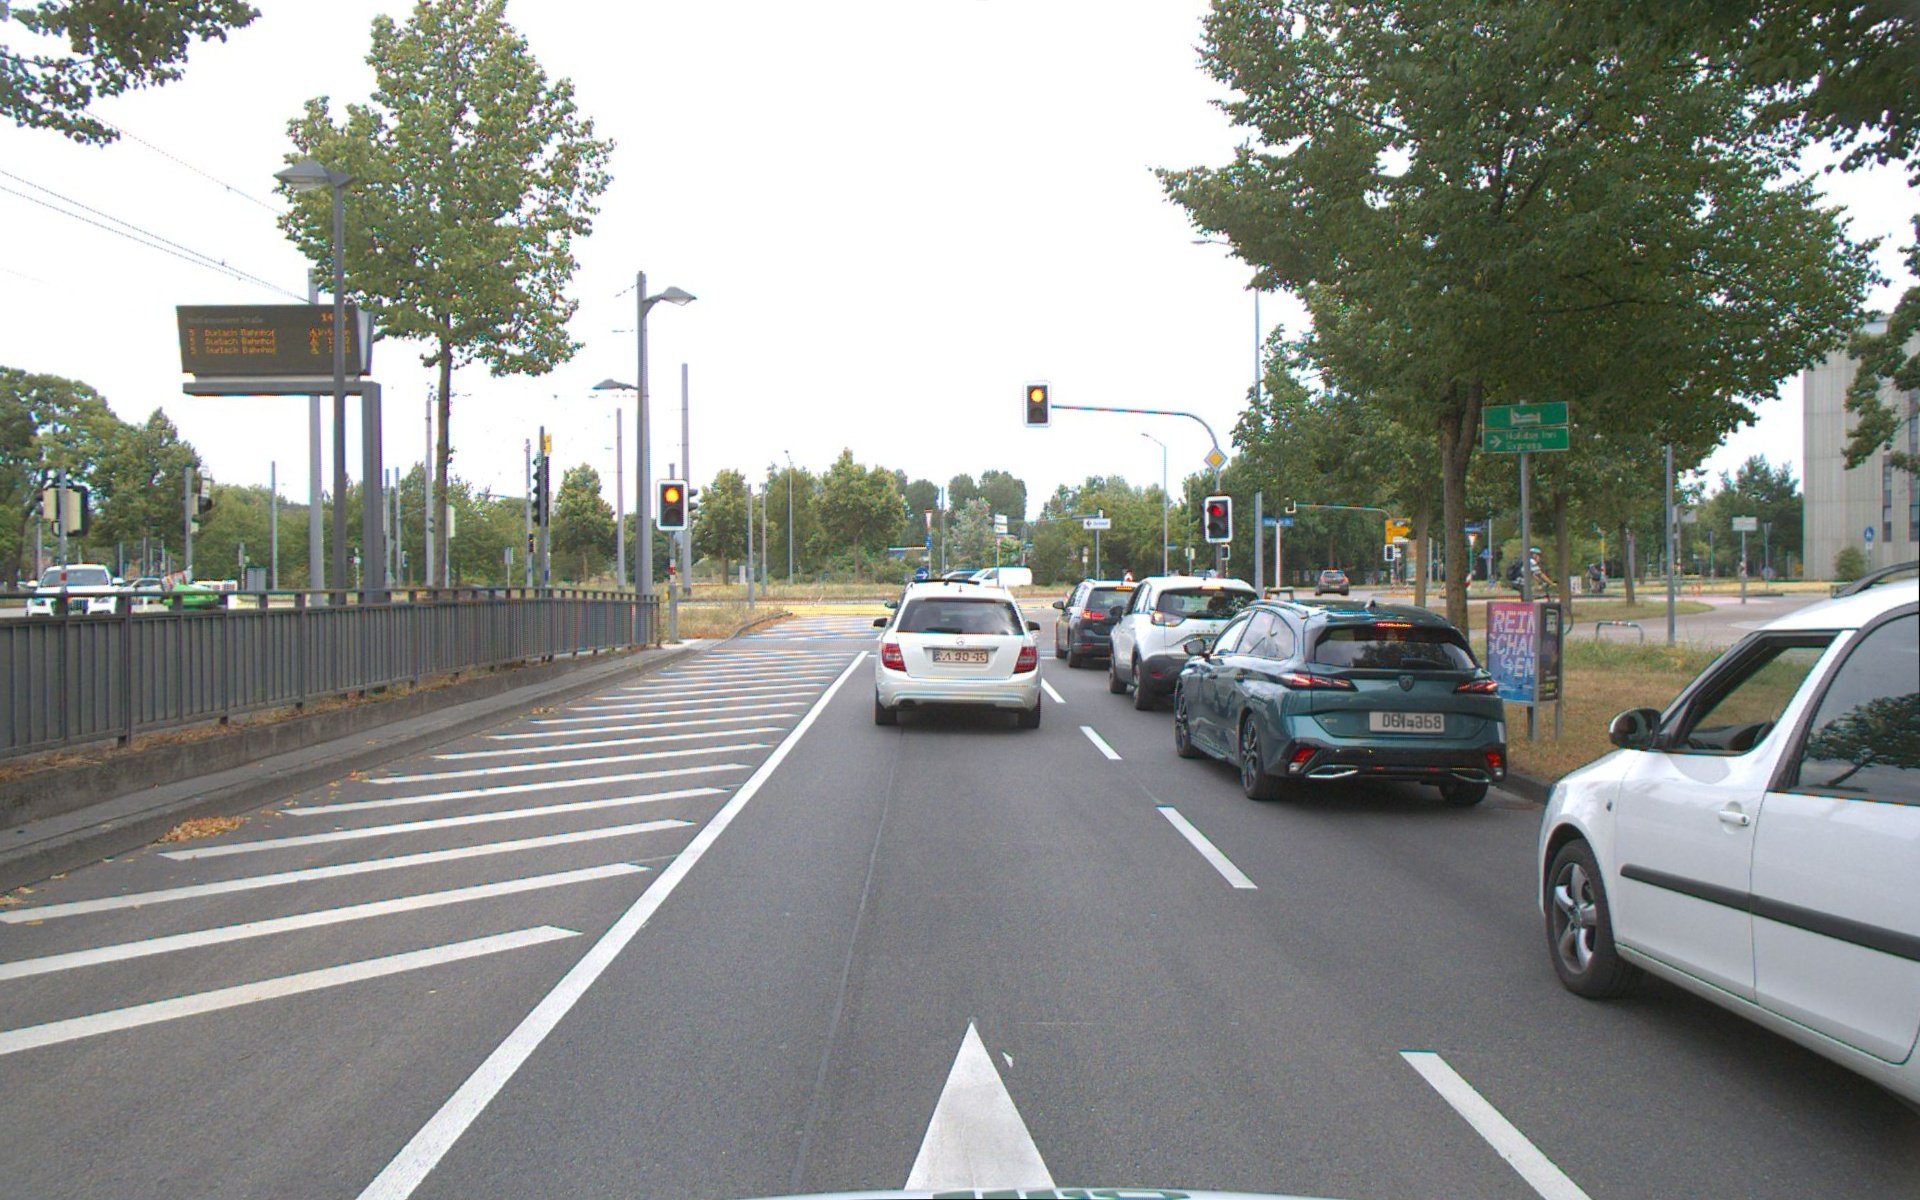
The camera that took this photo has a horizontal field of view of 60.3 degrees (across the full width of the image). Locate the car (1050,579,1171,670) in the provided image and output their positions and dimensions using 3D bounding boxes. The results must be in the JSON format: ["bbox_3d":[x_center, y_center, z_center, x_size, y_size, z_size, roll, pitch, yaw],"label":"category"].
[{"bbox_3d":[2.589,0.376,29.221,1.592,1.473,3.909,1,1,-2],"label":"car"}]

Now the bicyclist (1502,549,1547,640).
[{"bbox_3d":[12.164,-0.125,35.646,0.714,1.918,0.734,0,1,-2],"label":"bicyclist"}]

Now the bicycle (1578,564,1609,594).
[{"bbox_3d":[32.313,-1.069,84.361,0.691,1.532,2.006,2,0,-3],"label":"bicycle"}]

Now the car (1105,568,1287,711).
[{"bbox_3d":[2.931,0.433,21.278,1.751,1.653,3.910,0,1,-1],"label":"car"}]

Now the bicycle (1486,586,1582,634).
[{"bbox_3d":[12.377,0.209,35.687,1.895,1.001,0.564,0,1,-2],"label":"bicycle"}]

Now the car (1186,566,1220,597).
[{"bbox_3d":[15.047,-1.130,102.682,1.951,1.822,4.003,2,0,7],"label":"car"}]

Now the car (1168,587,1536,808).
[{"bbox_3d":[2.917,0.635,13.287,1.751,1.457,4.309,0,1,-3],"label":"car"}]

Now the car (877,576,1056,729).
[{"bbox_3d":[-0.017,0.492,18.216,1.738,1.473,3.909,1,1,-2],"label":"car"}]

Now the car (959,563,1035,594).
[{"bbox_3d":[2.541,-1.476,113.248,4.928,2.049,1.981,-1,1,-29],"label":"car"}]

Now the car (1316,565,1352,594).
[{"bbox_3d":[22.024,-1.190,97.544,1.745,1.664,4.406,0,1,9],"label":"car"}]

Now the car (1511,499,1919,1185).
[{"bbox_3d":[3.217,0.575,4.977,1.742,1.685,4.023,0,1,-1],"label":"car"}]

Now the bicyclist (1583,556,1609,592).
[{"bbox_3d":[32.362,-1.324,84.171,0.849,1.820,1.174,0,1,-2],"label":"bicyclist"}]

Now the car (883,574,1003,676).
[{"bbox_3d":[-0.330,0.348,26.285,1.738,1.473,3.909,1,1,-2],"label":"car"}]

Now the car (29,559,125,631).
[{"bbox_3d":[-21.473,-0.153,40.339,1.970,1.646,4.346,-1,1,-27],"label":"car"}]
